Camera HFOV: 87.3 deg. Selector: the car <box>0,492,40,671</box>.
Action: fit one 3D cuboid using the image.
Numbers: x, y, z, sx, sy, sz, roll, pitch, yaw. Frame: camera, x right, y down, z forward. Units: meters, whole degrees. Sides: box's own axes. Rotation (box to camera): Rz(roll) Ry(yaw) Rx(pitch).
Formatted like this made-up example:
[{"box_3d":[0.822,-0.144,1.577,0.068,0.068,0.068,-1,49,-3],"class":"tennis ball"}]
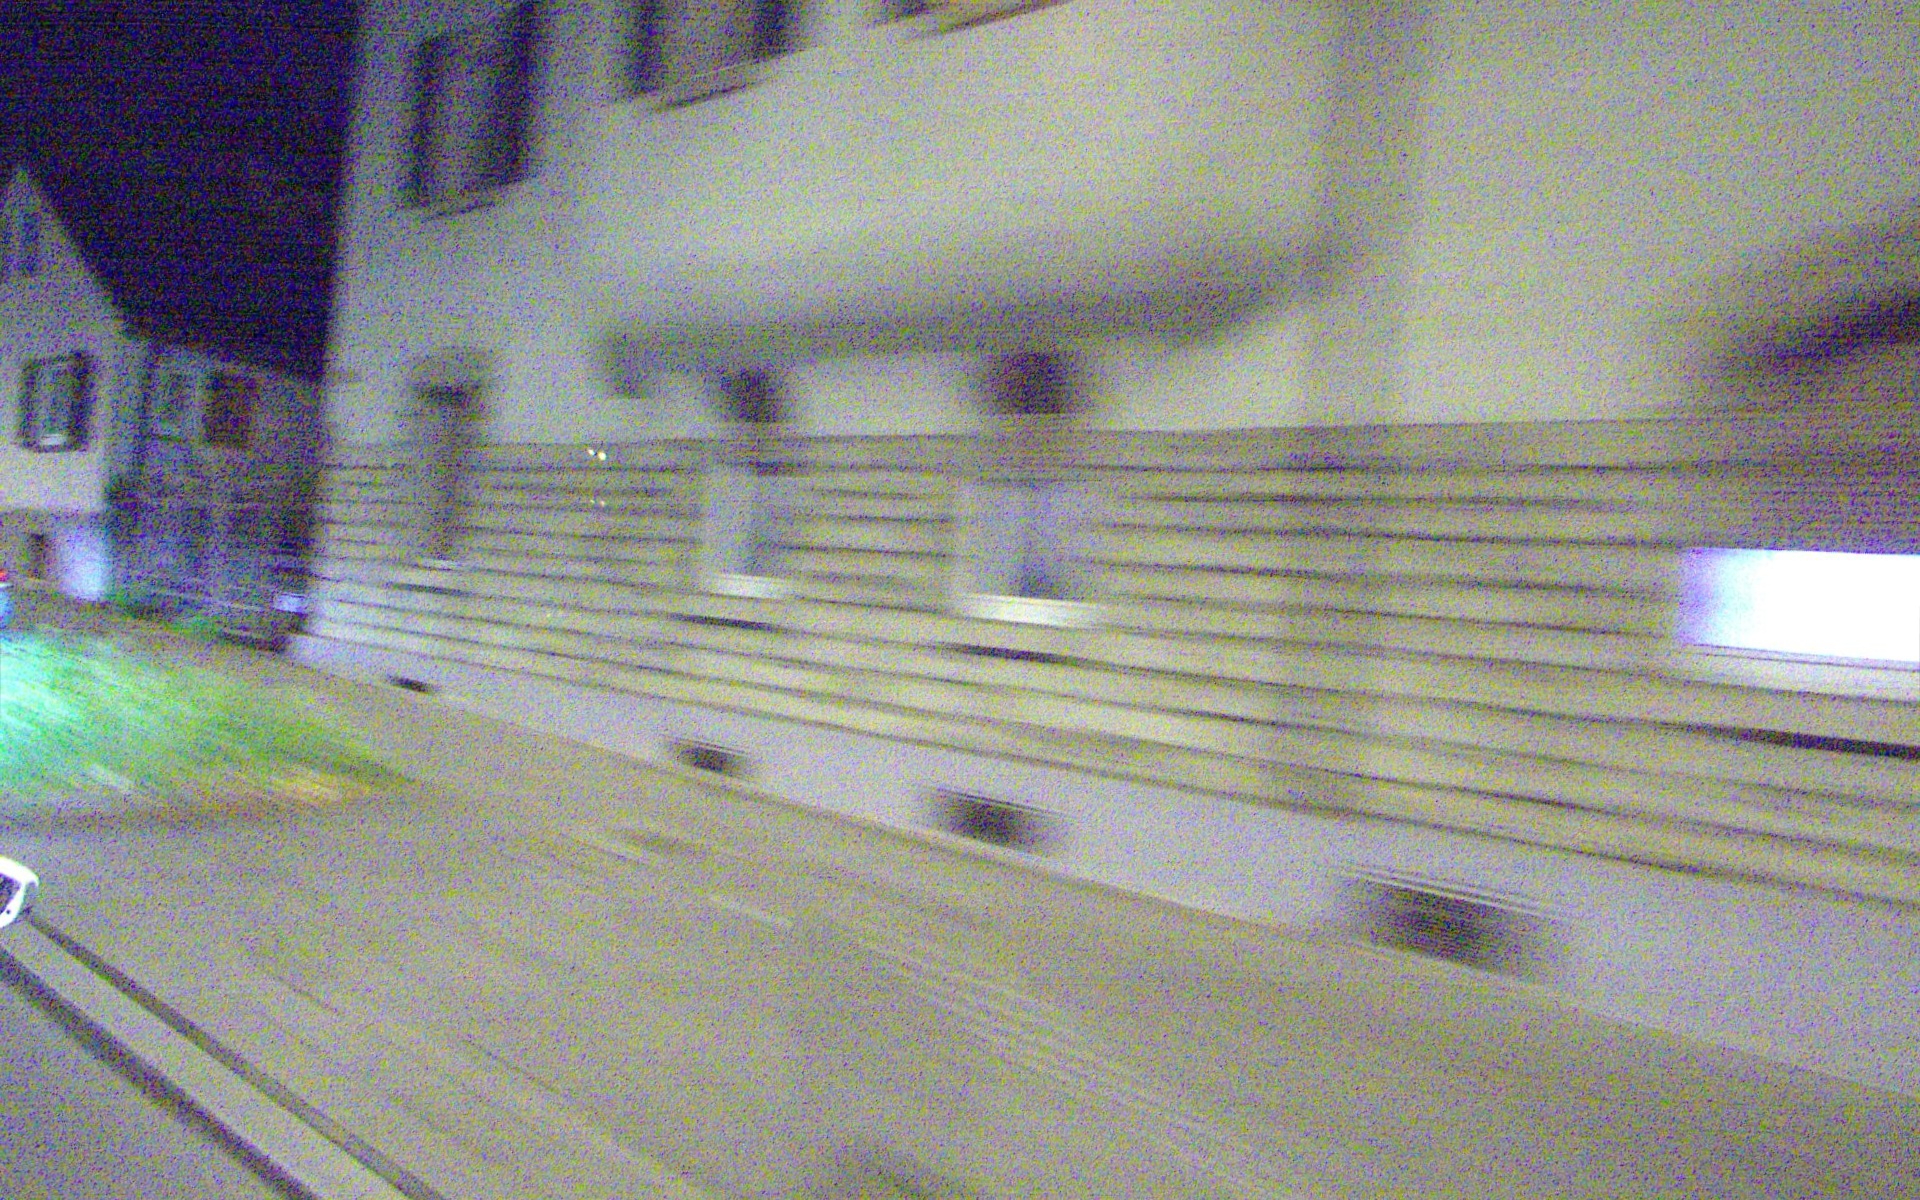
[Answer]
[{"box_3d":[-9.986,-0.376,8.624,4.567,1.436,1.846,6,2,31],"class":"car"}]
